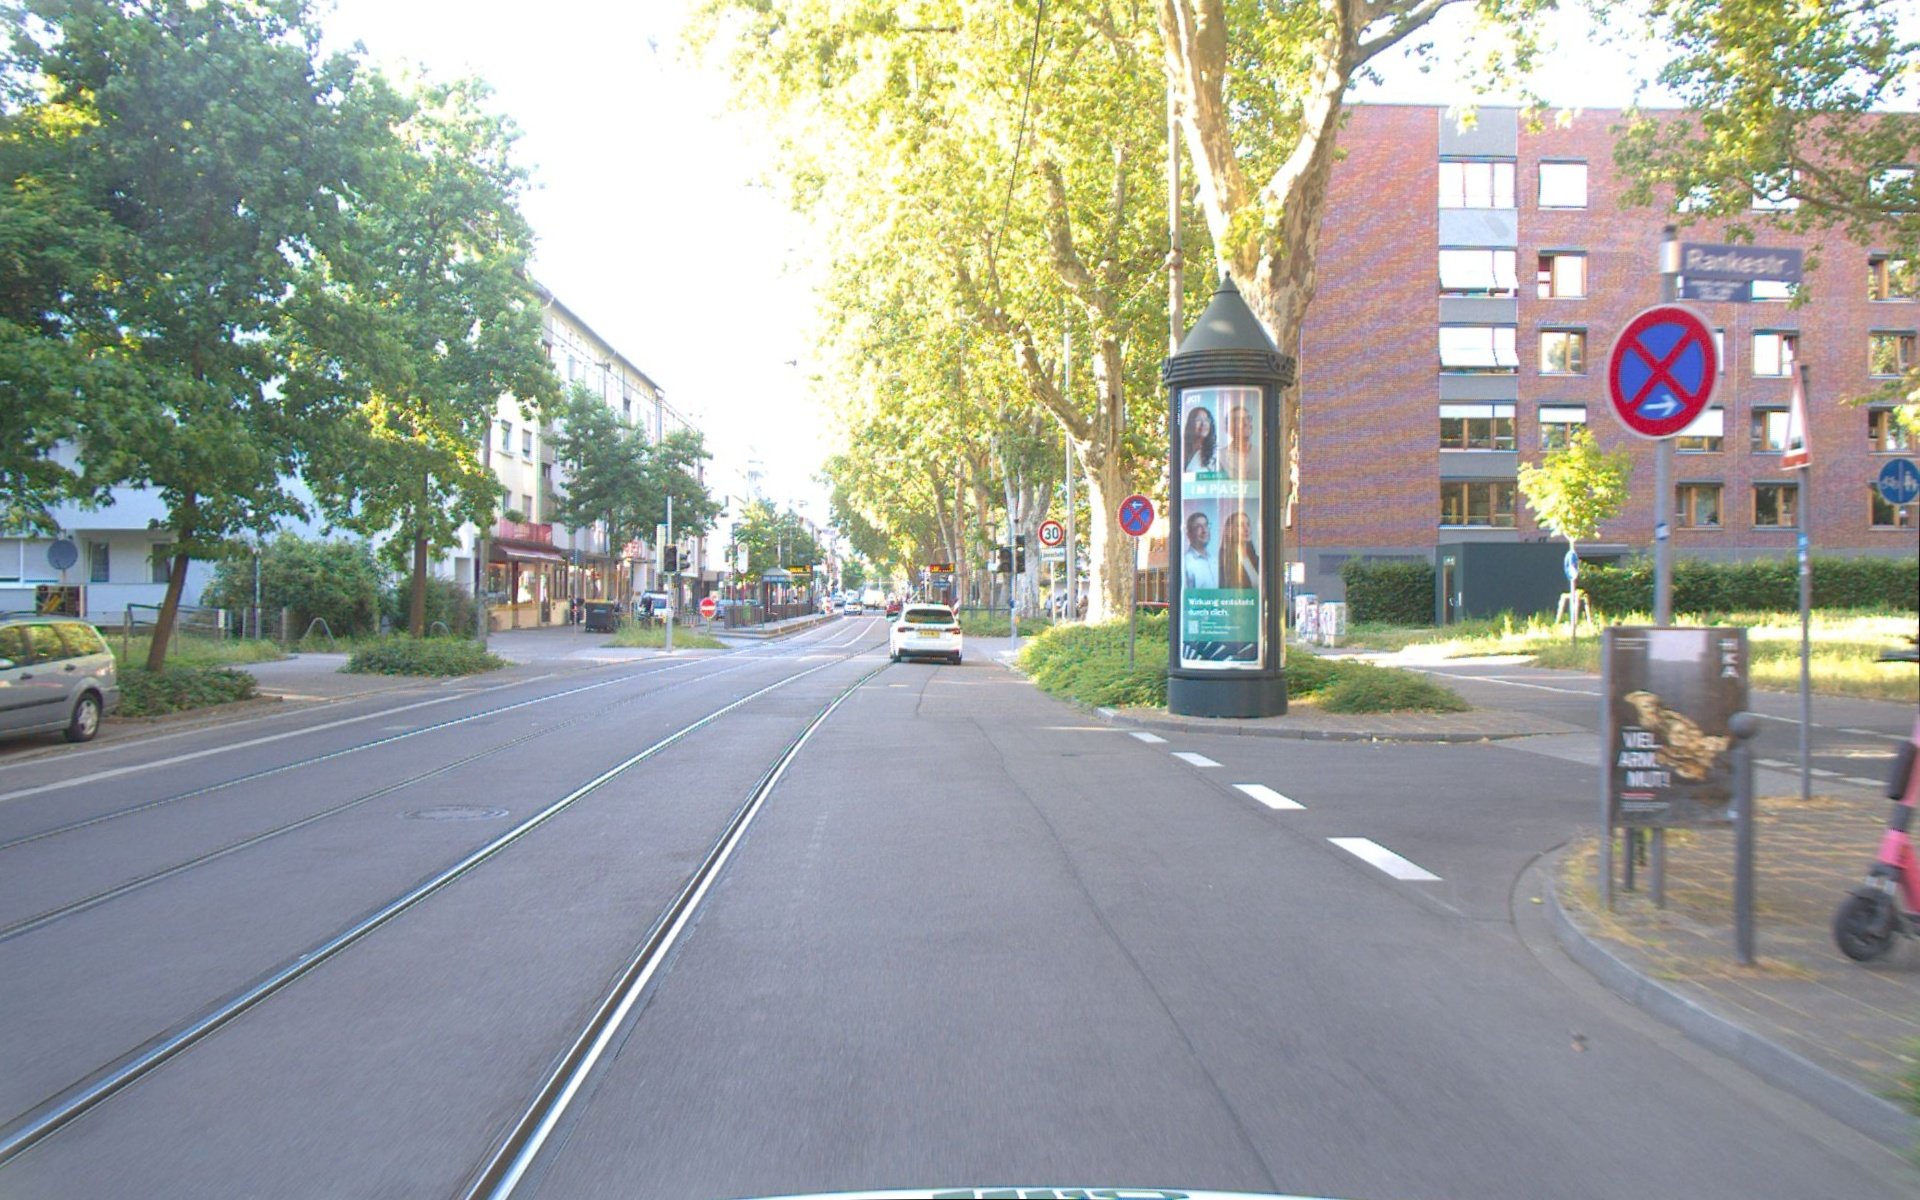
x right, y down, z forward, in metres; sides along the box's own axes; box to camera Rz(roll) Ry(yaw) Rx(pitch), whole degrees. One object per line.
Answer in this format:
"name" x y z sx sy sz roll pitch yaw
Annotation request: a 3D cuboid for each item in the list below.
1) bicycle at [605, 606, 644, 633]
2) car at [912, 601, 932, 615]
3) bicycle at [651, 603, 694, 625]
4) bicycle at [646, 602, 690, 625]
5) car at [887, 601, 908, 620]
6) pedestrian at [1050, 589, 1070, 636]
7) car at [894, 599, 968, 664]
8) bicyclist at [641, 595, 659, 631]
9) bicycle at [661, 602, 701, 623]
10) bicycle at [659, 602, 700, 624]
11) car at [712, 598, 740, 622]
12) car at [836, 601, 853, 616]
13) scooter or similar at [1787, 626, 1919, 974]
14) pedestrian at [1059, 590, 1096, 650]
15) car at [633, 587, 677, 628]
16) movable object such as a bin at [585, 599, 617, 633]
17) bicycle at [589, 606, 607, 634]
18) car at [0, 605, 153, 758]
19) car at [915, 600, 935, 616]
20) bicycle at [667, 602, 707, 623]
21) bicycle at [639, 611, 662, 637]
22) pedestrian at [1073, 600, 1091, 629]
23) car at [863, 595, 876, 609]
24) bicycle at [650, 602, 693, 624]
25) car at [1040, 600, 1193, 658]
"bicycle" -14.620 0.857 72.037 1.503 1.094 0.885 3 0 -3
"car" -3.889 0.806 170.034 1.953 1.478 3.998 0 0 -3
"bicycle" -15.784 0.749 90.789 2.207 1.093 0.636 3 0 -2
"bicycle" -15.759 0.733 89.141 2.207 1.093 0.636 3 0 -2
"car" -5.399 0.902 142.315 1.752 1.540 3.998 0 0 -3
"pedestrian" 3.663 0.450 60.715 0.639 1.698 0.737 0 0 -3
"car" -0.777 0.757 41.598 1.752 1.540 3.998 0 0 -3
"bicyclist" -12.642 0.526 67.461 0.628 1.480 0.836 -1 0 -3
"bicycle" -16.226 0.737 96.215 2.207 1.093 0.636 3 0 -2
"bicycle" -16.002 0.734 94.383 2.207 1.093 0.636 3 0 -2
"car" -16.501 0.688 116.845 1.561 1.575 3.998 2 0 -3
"car" -11.695 0.834 167.626 1.660 1.444 3.998 0 0 -3
"scooter or similar" 3.936 0.733 6.390 1.184 1.261 0.569 -1 -1 -5
"pedestrian" 3.676 0.620 51.903 0.975 1.843 0.863 -1 0 -8
"car" -15.340 0.366 83.272 1.654 1.974 3.998 0 0 -3
"movable object such as a bin" -15.169 0.680 69.938 1.147 1.372 0.782 3 -1 -7
"bicycle" -15.596 0.850 71.319 0.489 1.127 1.798 3 0 -5
"car" -10.969 0.867 18.435 1.664 1.577 4.536 1 0 1
"car" -3.494 0.797 164.963 1.953 1.478 3.998 0 0 -3
"bicycle" -16.160 0.755 98.050 2.207 1.093 0.636 3 0 -2
"bicycle" -12.625 0.983 67.451 0.628 1.004 2.100 -1 0 -3
"pedestrian" 7.076 0.851 96.031 0.953 1.652 0.887 0 0 -3
"car" -12.929 0.290 237.532 1.828 1.925 3.998 0 0 -3
"bicycle" -16.151 0.712 92.586 2.207 1.093 0.636 3 0 -2
"car" 3.985 0.736 42.546 3.805 1.448 1.648 0 0 0
